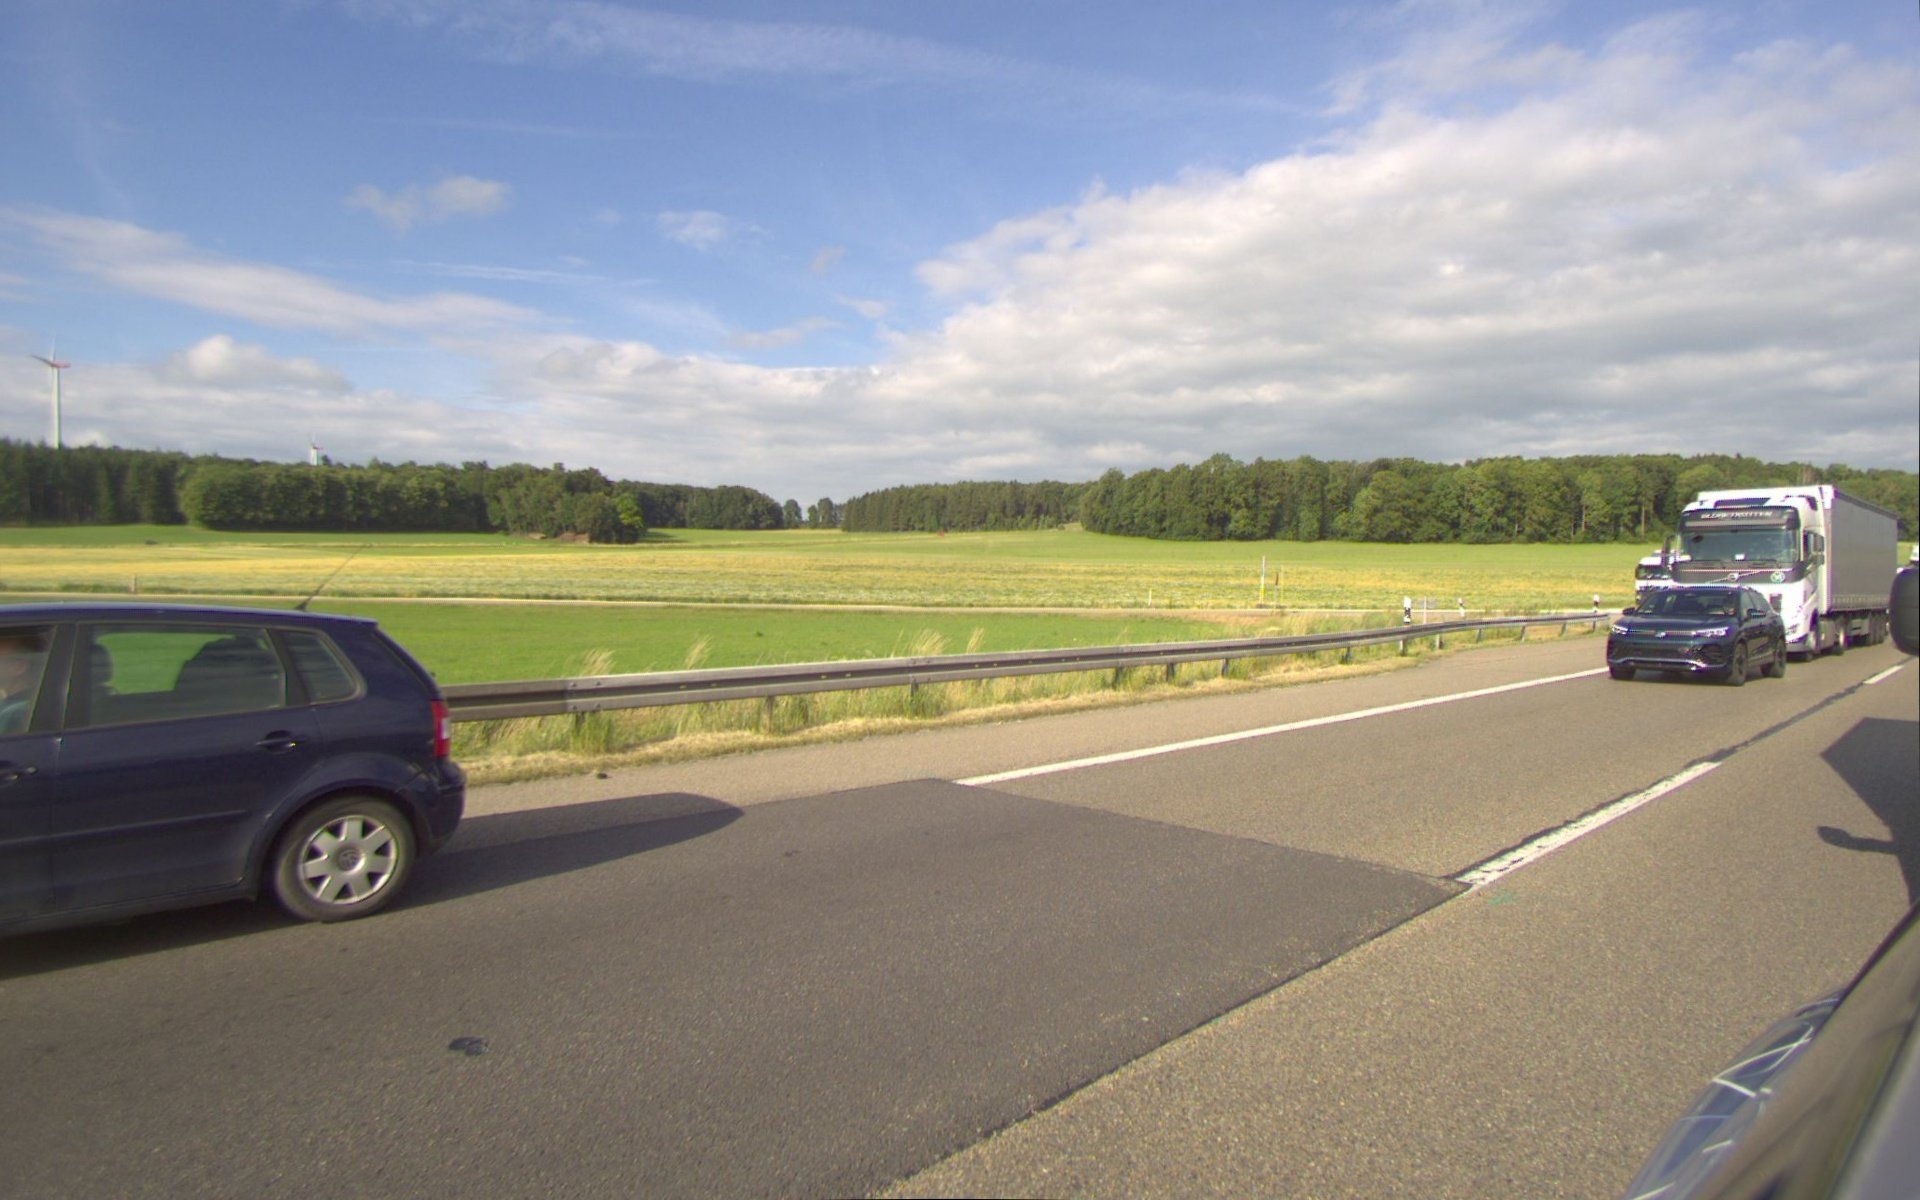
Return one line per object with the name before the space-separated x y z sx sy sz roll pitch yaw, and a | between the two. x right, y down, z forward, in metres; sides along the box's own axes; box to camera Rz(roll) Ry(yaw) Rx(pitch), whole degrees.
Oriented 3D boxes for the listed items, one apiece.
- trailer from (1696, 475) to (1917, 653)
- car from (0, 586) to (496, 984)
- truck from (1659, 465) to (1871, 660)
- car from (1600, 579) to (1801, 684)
trailer | 23.665 -0.884 27.931 11.916 4.032 2.824 -1 0 -41
car | -4.193 0.683 4.303 3.710 1.464 1.712 -1 1 -42
truck | 19.324 -0.822 24.155 6.387 4.040 2.840 -1 0 -41
car | 13.018 0.453 17.709 4.047 1.616 1.997 -1 1 -41
